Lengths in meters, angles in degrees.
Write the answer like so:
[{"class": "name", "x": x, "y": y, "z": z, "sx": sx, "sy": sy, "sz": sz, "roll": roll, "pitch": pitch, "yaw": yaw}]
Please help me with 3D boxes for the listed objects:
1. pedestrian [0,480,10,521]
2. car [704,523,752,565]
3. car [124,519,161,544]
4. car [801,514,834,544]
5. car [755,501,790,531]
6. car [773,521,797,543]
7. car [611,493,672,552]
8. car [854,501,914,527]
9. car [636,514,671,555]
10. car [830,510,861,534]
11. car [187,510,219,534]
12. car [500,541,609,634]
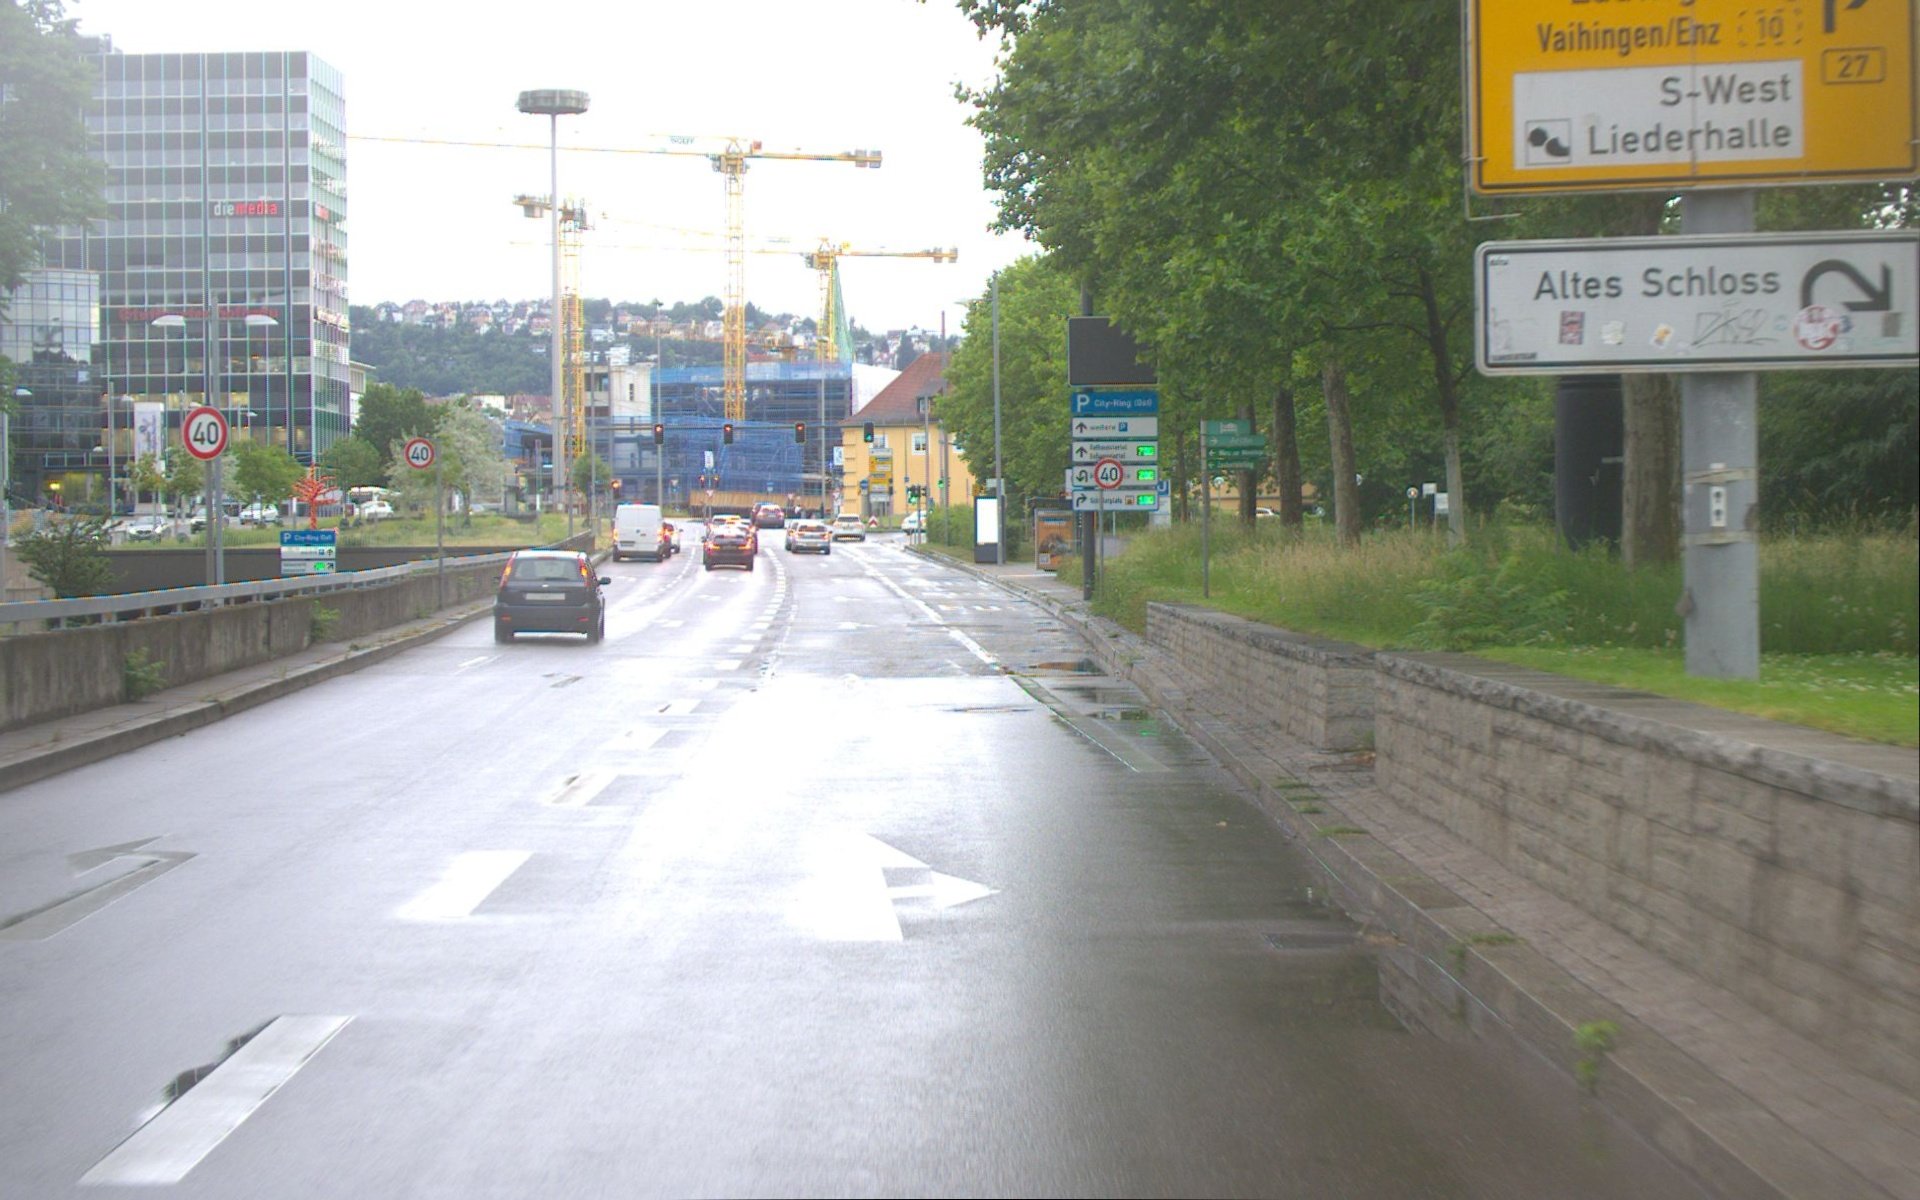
[{"class": "pedestrian", "x": -49.420, "y": -5.141, "z": 177.218, "sx": 0.767, "sy": 2.084, "sz": 0.726, "roll": 1, "pitch": 6, "yaw": -4}, {"class": "car", "x": -8.824, "y": -2.147, "z": 130.475, "sx": 1.753, "sy": 1.466, "sz": 4.223, "roll": 1, "pitch": 2, "yaw": -5}, {"class": "car", "x": -44.246, "y": -3.702, "z": 186.132, "sx": 1.344, "sy": 1.347, "sz": 2.931, "roll": 1, "pitch": 1, "yaw": -1}, {"class": "car", "x": -6.588, "y": -3.291, "z": 158.982, "sx": 1.444, "sy": 1.354, "sz": 2.412, "roll": 1, "pitch": 1, "yaw": -1}, {"class": "car", "x": -12.328, "y": -5.515, "z": 226.118, "sx": 2.161, "sy": 1.873, "sz": 3.771, "roll": 1, "pitch": 1, "yaw": -1}, {"class": "car", "x": -8.412, "y": -3.277, "z": 165.127, "sx": 1.076, "sy": 0.987, "sz": 1.972, "roll": 1, "pitch": 0, "yaw": -1}, {"class": "car", "x": -13.021, "y": -3.145, "z": 140.885, "sx": 2.292, "sy": 2.306, "sz": 5.006, "roll": 1, "pitch": 1, "yaw": -3}, {"class": "car", "x": -4.706, "y": -5.318, "z": 213.340, "sx": 1.547, "sy": 1.538, "sz": 3.616, "roll": 1, "pitch": 1, "yaw": 44}, {"class": "car", "x": -13.153, "y": -2.798, "z": 147.426, "sx": 1.464, "sy": 1.700, "sz": 3.142, "roll": 1, "pitch": 1, "yaw": -6}, {"class": "car", "x": -6.276, "y": -4.275, "z": 188.534, "sx": 1.636, "sy": 1.170, "sz": 3.265, "roll": 1, "pitch": 0, "yaw": -1}, {"class": "car", "x": -45.864, "y": -4.709, "z": 208.245, "sx": 1.464, "sy": 1.435, "sz": 2.963, "roll": 1, "pitch": 1, "yaw": -4}, {"class": "car", "x": -6.464, "y": -0.221, "z": 55.080, "sx": 1.542, "sy": 1.410, "sz": 3.902, "roll": 1, "pitch": 1, "yaw": -4}]
